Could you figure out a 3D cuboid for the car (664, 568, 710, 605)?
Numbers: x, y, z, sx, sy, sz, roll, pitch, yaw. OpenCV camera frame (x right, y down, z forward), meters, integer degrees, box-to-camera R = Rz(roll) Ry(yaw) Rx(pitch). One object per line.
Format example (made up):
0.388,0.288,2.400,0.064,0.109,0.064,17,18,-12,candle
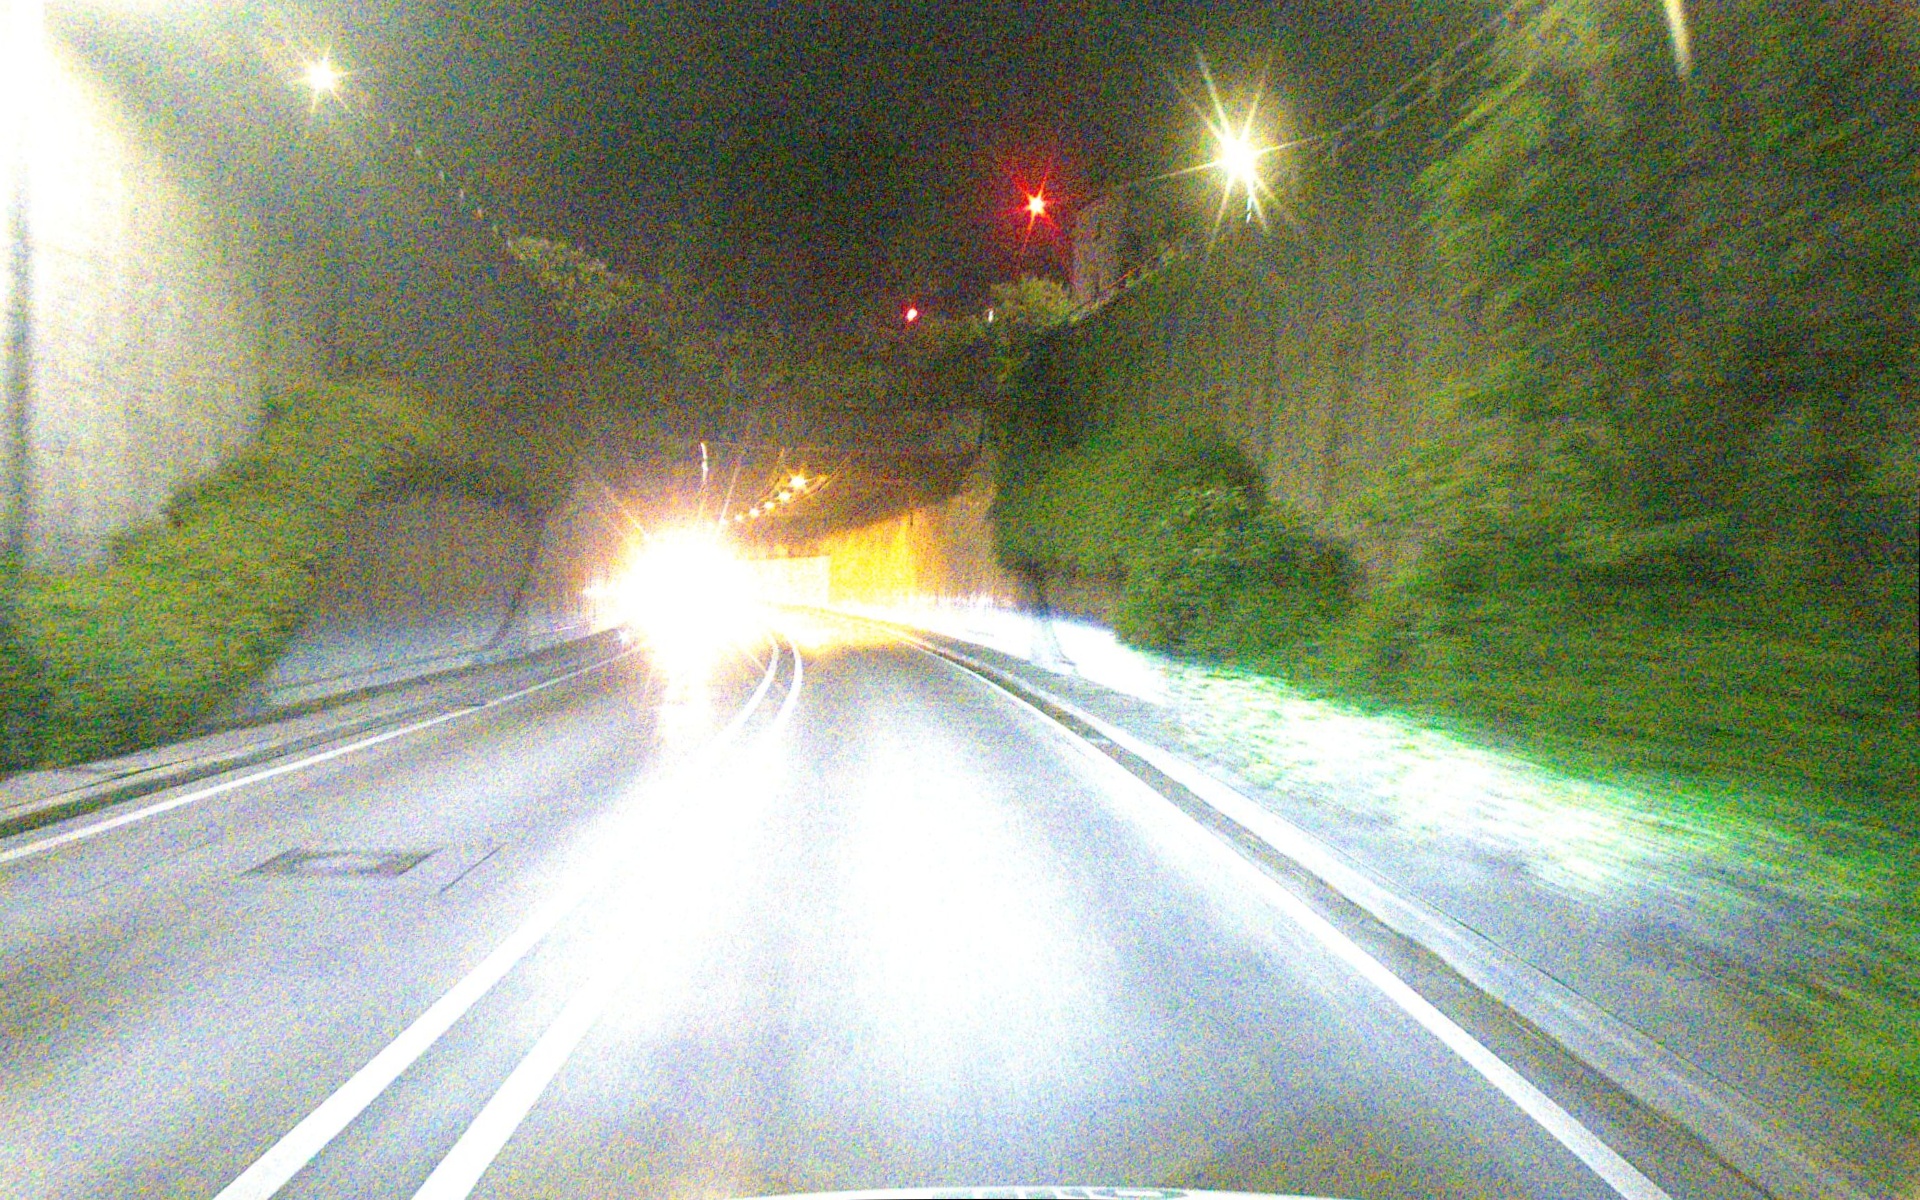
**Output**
-14.863,-0.739,89.908,1.960,1.770,3.985,6,-1,-14,car
